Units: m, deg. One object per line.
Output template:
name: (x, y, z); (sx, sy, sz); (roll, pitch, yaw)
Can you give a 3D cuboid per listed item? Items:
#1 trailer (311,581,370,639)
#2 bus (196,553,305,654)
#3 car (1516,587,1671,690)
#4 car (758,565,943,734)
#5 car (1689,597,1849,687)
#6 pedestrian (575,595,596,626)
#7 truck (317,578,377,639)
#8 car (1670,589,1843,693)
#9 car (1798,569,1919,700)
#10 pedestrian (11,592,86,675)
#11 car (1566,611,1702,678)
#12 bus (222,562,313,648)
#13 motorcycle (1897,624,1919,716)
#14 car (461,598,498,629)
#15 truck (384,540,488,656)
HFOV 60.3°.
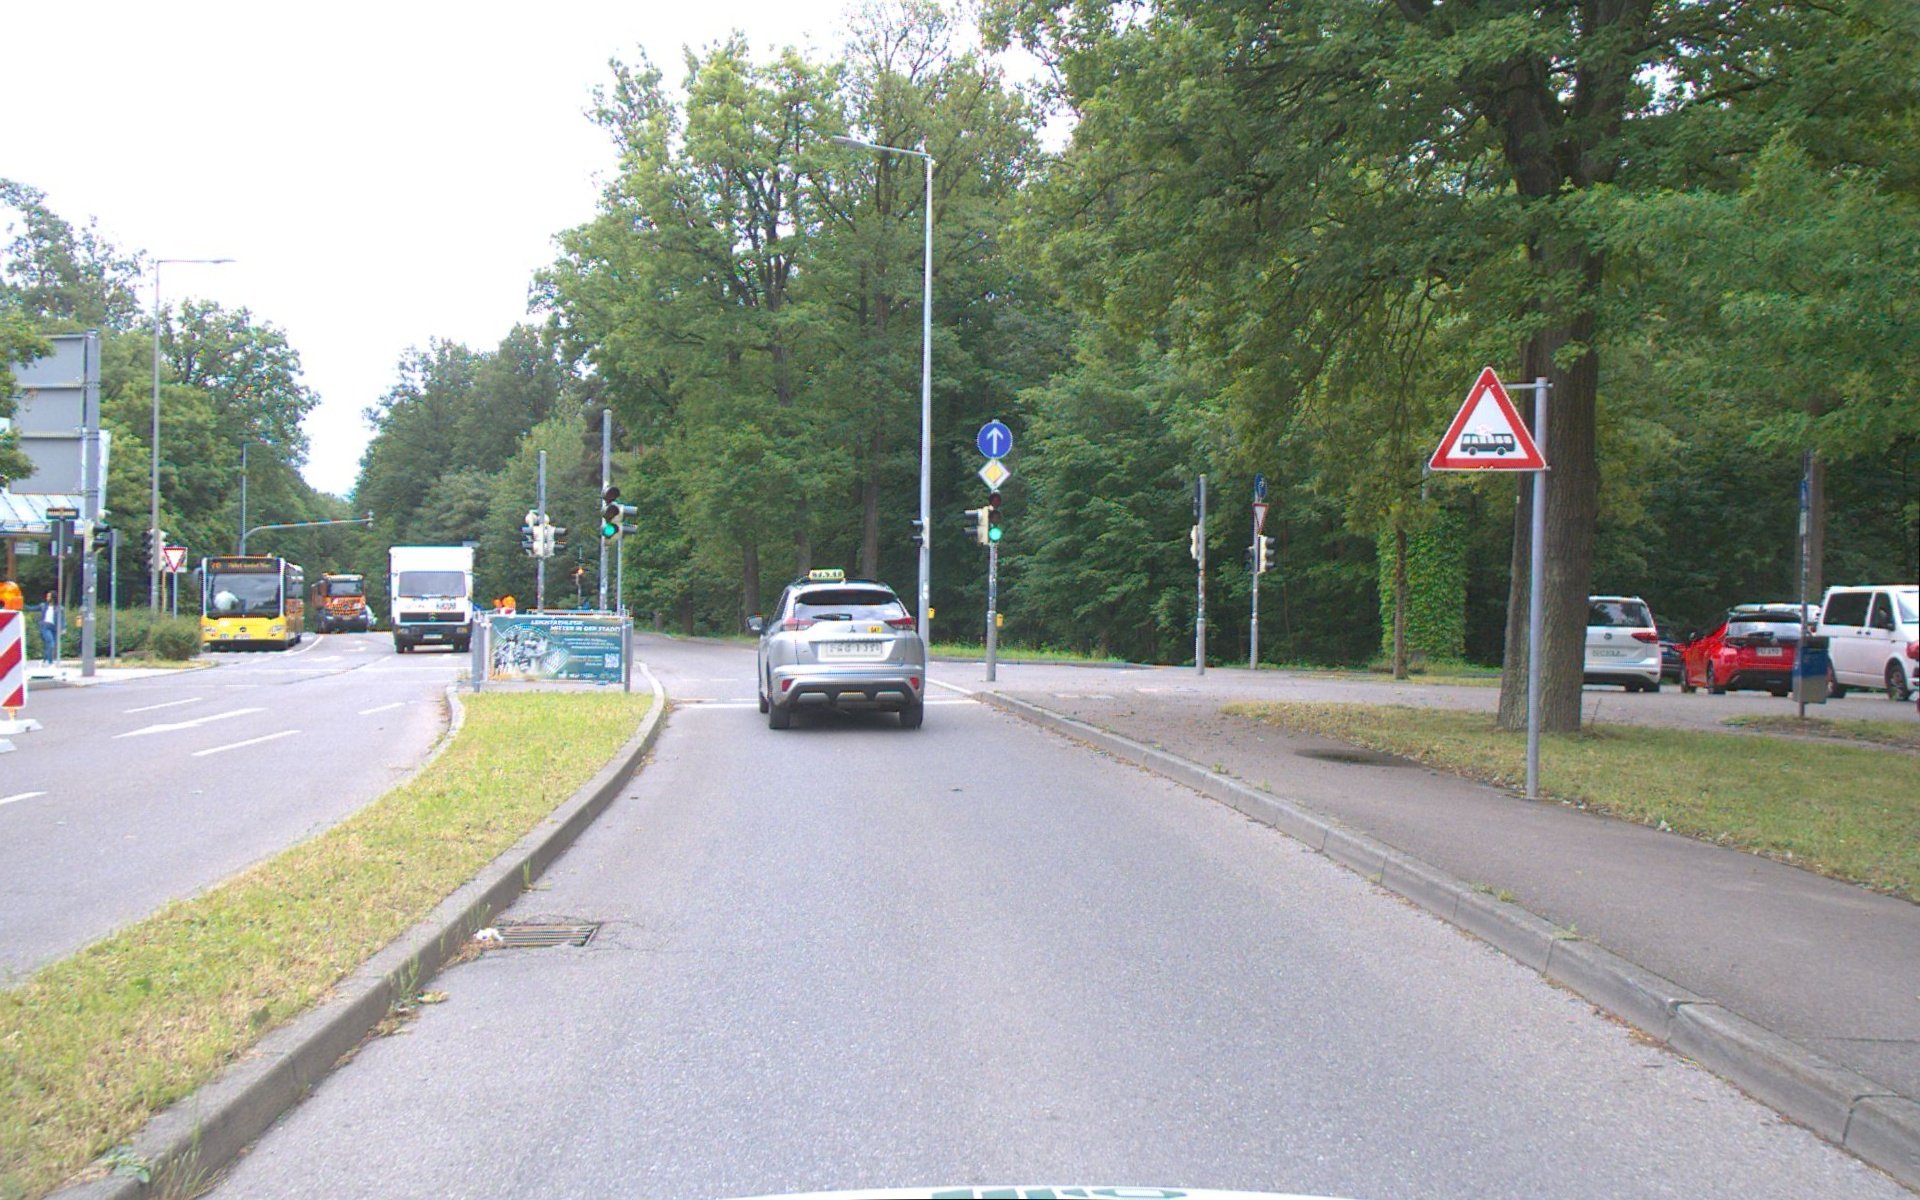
trailer: (-38.703, 0.697, 103.147); (2.704, 3.376, 8.499); (-2, -1, -25)
bus: (-24.338, 0.171, 57.132); (2.856, 3.182, 9.702); (0, -1, -20)
car: (10.843, 0.629, 28.599); (1.951, 1.579, 4.424); (2, 0, 14)
car: (-1.415, 0.528, 19.858); (1.813, 1.811, 3.991); (0, 0, -10)
car: (18.698, 0.926, 38.497); (1.951, 1.911, 4.954); (2, 0, 9)
pedestrian: (-20.600, 0.576, 91.045); (1.030, 1.678, 1.064); (-1, 0, -17)
truck: (-36.619, 0.567, 98.719); (2.705, 3.376, 7.102); (-2, -1, -25)
car: (13.359, 0.657, 27.982); (1.848, 1.579, 4.003); (2, 0, 14)
car: (15.965, 0.642, 27.722); (2.012, 1.992, 5.187); (2, -2, 10)
pedestrian: (-19.099, 0.689, 34.678); (0.889, 1.706, 1.095); (0, -1, 11)
car: (15.884, 1.019, 39.169); (1.777, 1.445, 3.850); (2, 0, 3)
bus: (-27.424, 0.241, 65.771); (2.856, 3.182, 8.643); (0, -1, -20)
motorcycle: (13.775, 0.967, 22.276); (1.909, 1.225, 0.591); (2, 0, 6)
car: (-25.092, 0.733, 86.343); (1.779, 1.535, 4.288); (-1, -1, -16)
truck: (-16.007, -0.055, 50.867); (2.584, 3.295, 6.183); (-1, 0, -14)
